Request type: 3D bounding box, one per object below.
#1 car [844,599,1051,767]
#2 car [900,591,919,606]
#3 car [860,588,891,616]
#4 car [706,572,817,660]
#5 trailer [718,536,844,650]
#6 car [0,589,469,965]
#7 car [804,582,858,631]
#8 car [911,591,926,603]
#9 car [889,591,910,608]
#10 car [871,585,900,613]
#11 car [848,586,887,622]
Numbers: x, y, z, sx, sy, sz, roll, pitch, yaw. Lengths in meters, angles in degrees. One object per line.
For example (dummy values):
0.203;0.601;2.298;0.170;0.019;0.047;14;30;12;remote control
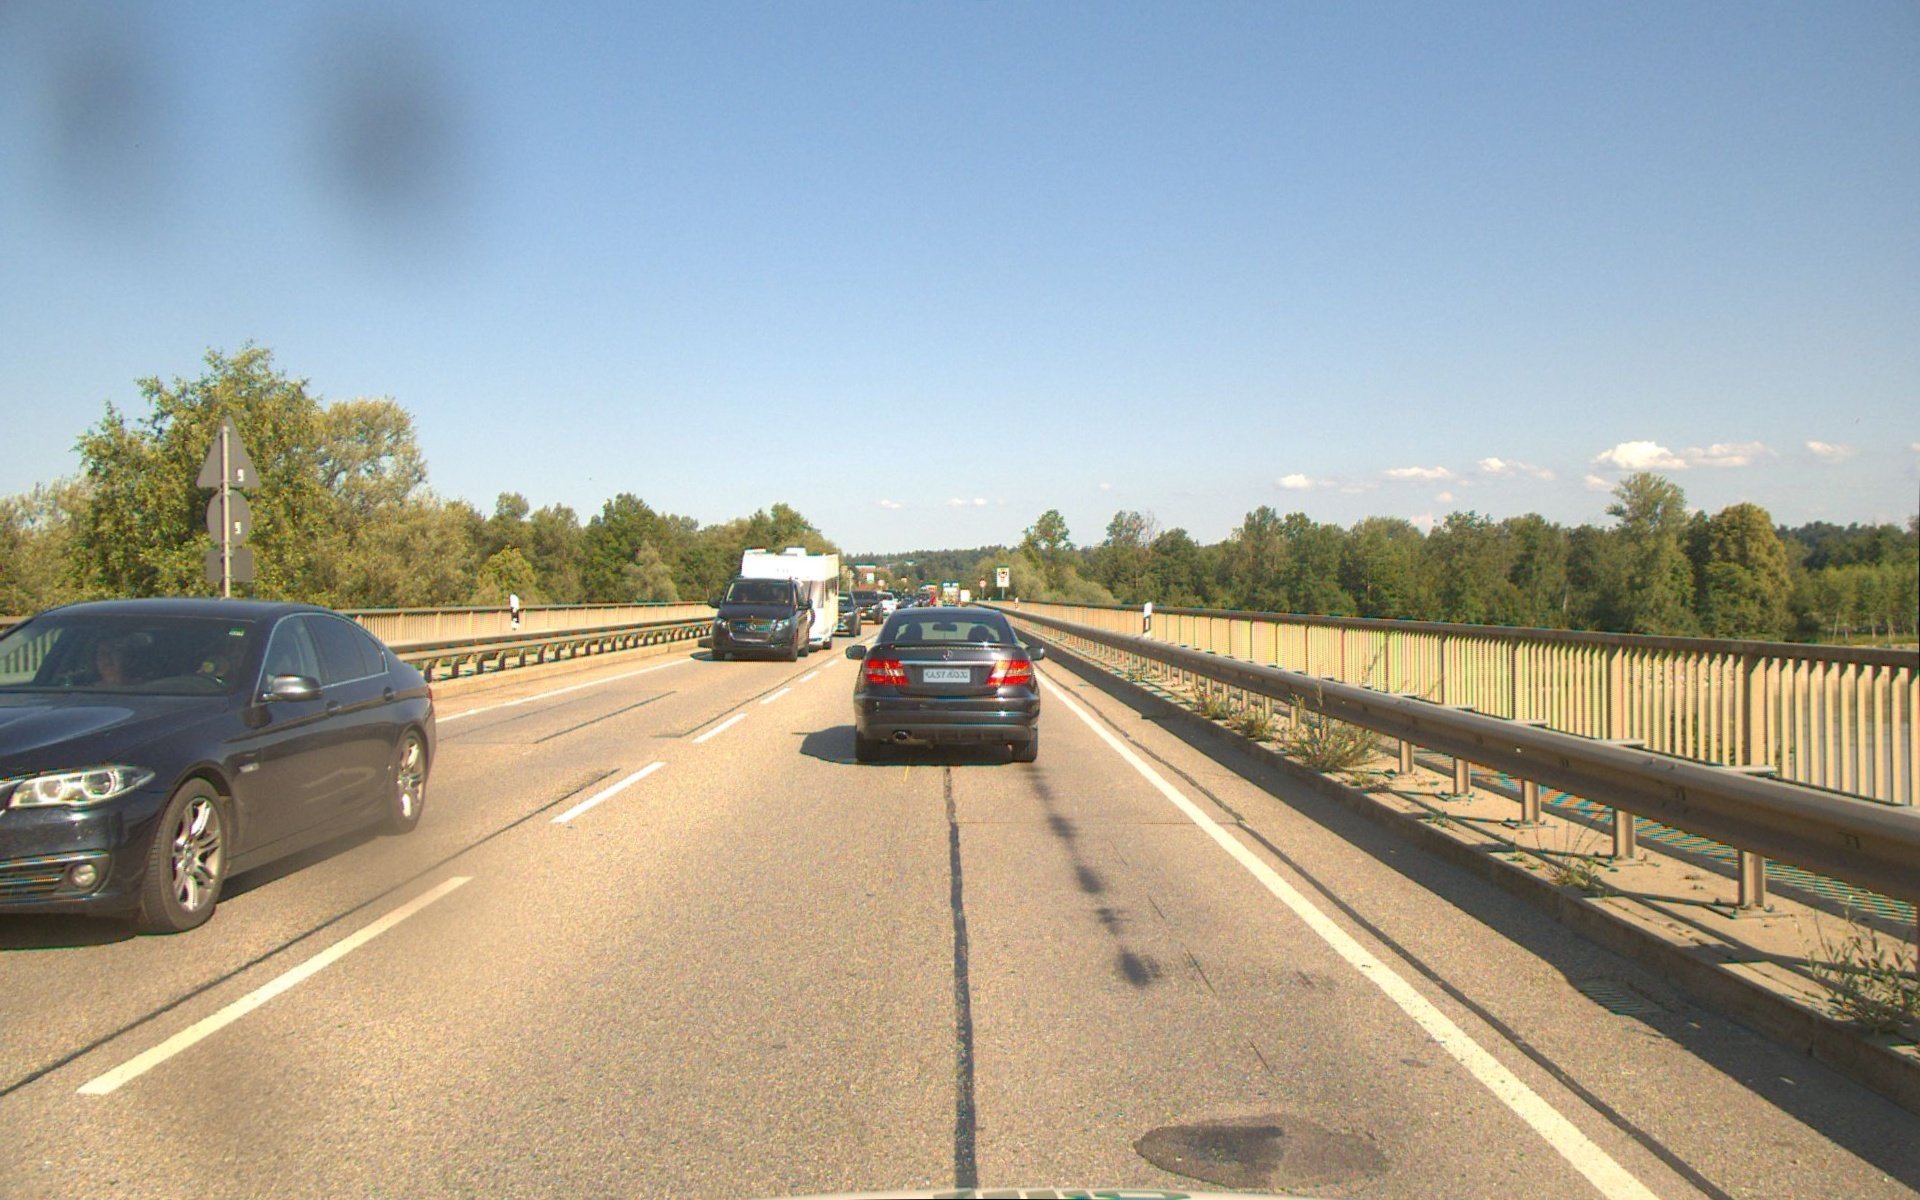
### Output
-0.112;0.707;16.128;1.757;1.400;4.000;1;0;0;car
-5.295;-0.174;171.679;1.829;1.469;4.453;1;0;-4;car
-5.589;0.111;109.307;1.944;1.680;4.595;2;1;-4;car
-4.532;0.338;38.516;1.942;1.886;5.008;0;0;0;car
-4.718;-0.204;45.000;2.503;2.785;8.062;1;0;0;trailer
-4.165;0.680;8.709;1.750;1.445;4.651;-1;0;0;car
-4.681;0.206;60.610;1.766;1.690;4.431;1;1;-2;car
-5.388;-0.394;214.602;1.771;1.605;4.198;0;0;-4;car
-5.265;-0.062;144.121;1.730;1.472;4.453;1;0;-3;car
-5.595;-0.092;123.370;1.997;1.906;5.066;2;1;-4;car
-4.751;0.172;84.727;1.910;1.723;4.474;2;1;-4;car
